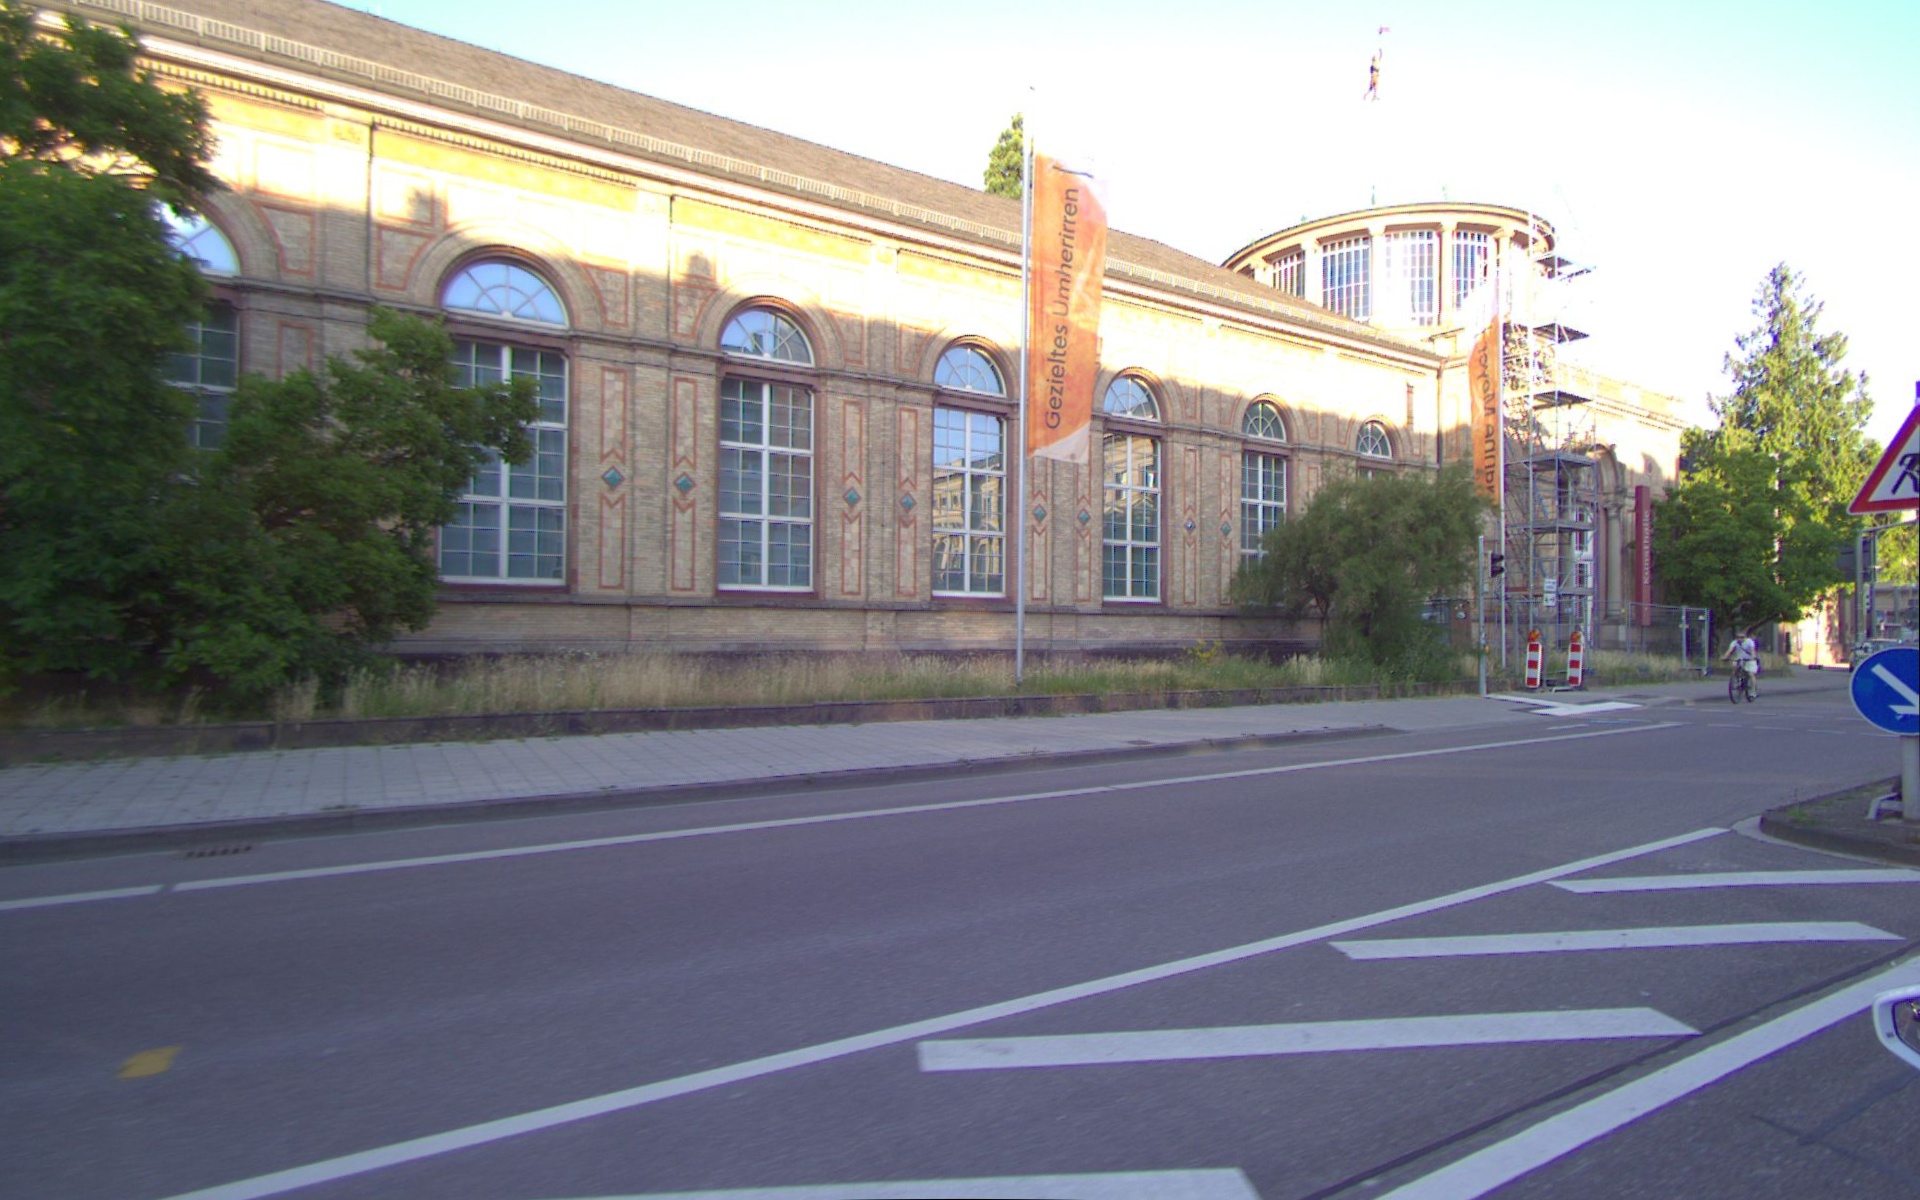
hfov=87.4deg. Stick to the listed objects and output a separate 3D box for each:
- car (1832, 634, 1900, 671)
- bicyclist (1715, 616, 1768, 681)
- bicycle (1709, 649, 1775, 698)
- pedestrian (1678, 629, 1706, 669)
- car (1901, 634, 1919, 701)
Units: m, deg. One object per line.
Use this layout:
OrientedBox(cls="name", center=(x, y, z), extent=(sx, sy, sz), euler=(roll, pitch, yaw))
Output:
OrientedBox(cls="car", center=(42.181, 2.441, 46.748), extent=(4.334, 1.568, 1.730), euler=(4, -2, -40))
OrientedBox(cls="bicyclist", center=(18.449, 1.144, 23.702), extent=(0.929, 1.479, 0.742), euler=(1, -3, -37))
OrientedBox(cls="bicycle", center=(18.411, 1.716, 23.642), extent=(1.915, 1.104, 0.748), euler=(2, -3, -38))
OrientedBox(cls="pedestrian", center=(29.423, 1.965, 40.352), extent=(0.755, 1.600, 0.730), euler=(1, -1, -37))
OrientedBox(cls="car", center=(23.998, 1.586, 23.759), extent=(4.385, 1.528, 1.810), euler=(2, -2, -37))
